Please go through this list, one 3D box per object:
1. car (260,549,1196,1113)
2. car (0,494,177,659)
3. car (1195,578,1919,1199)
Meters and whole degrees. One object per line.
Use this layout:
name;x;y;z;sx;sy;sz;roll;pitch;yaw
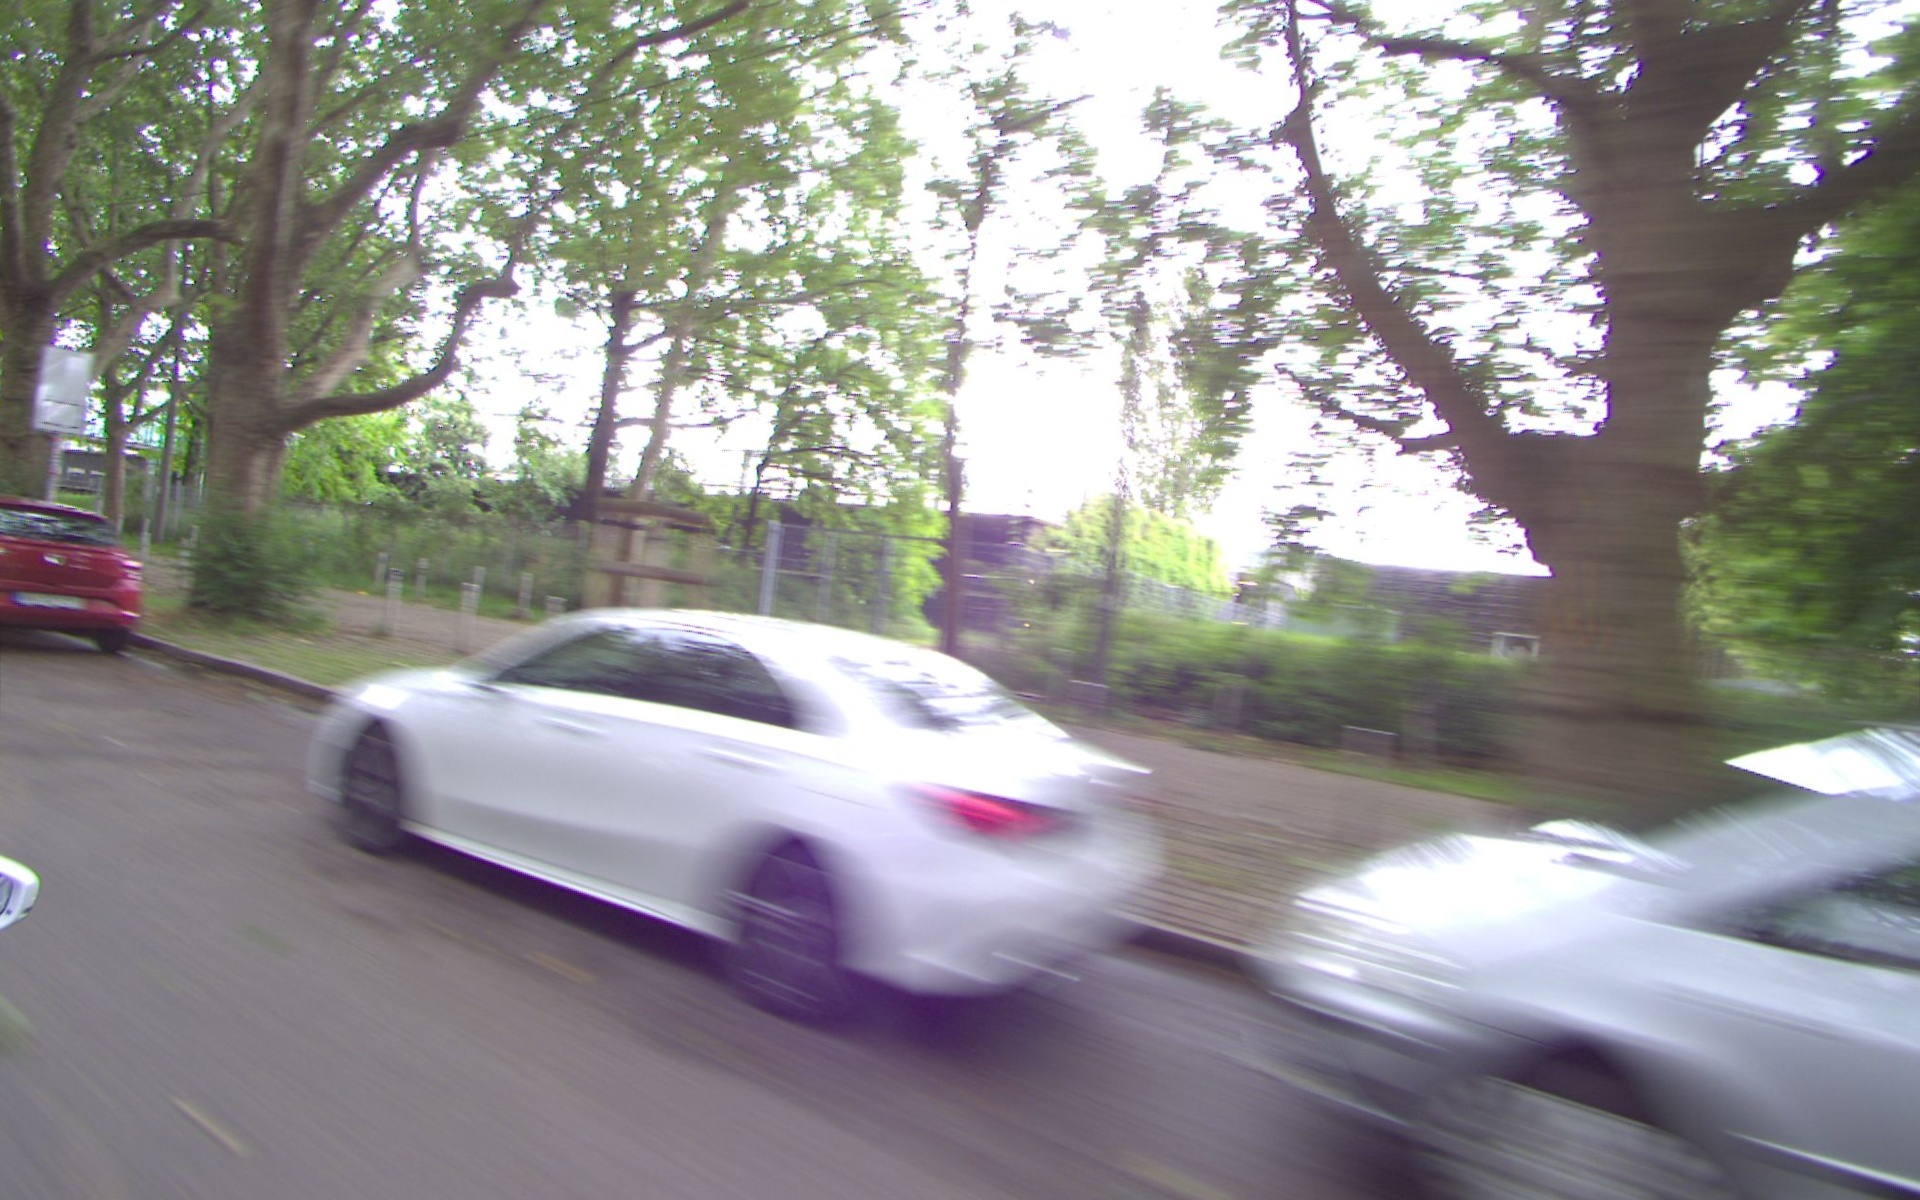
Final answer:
car;-1.343;0.752;5.159;4.508;1.445;1.880;7;0;30
car;-10.547;-0.409;10.848;4.107;1.499;1.860;7;0;31
car;3.174;1.118;2.698;4.431;1.760;1.906;7;0;31
